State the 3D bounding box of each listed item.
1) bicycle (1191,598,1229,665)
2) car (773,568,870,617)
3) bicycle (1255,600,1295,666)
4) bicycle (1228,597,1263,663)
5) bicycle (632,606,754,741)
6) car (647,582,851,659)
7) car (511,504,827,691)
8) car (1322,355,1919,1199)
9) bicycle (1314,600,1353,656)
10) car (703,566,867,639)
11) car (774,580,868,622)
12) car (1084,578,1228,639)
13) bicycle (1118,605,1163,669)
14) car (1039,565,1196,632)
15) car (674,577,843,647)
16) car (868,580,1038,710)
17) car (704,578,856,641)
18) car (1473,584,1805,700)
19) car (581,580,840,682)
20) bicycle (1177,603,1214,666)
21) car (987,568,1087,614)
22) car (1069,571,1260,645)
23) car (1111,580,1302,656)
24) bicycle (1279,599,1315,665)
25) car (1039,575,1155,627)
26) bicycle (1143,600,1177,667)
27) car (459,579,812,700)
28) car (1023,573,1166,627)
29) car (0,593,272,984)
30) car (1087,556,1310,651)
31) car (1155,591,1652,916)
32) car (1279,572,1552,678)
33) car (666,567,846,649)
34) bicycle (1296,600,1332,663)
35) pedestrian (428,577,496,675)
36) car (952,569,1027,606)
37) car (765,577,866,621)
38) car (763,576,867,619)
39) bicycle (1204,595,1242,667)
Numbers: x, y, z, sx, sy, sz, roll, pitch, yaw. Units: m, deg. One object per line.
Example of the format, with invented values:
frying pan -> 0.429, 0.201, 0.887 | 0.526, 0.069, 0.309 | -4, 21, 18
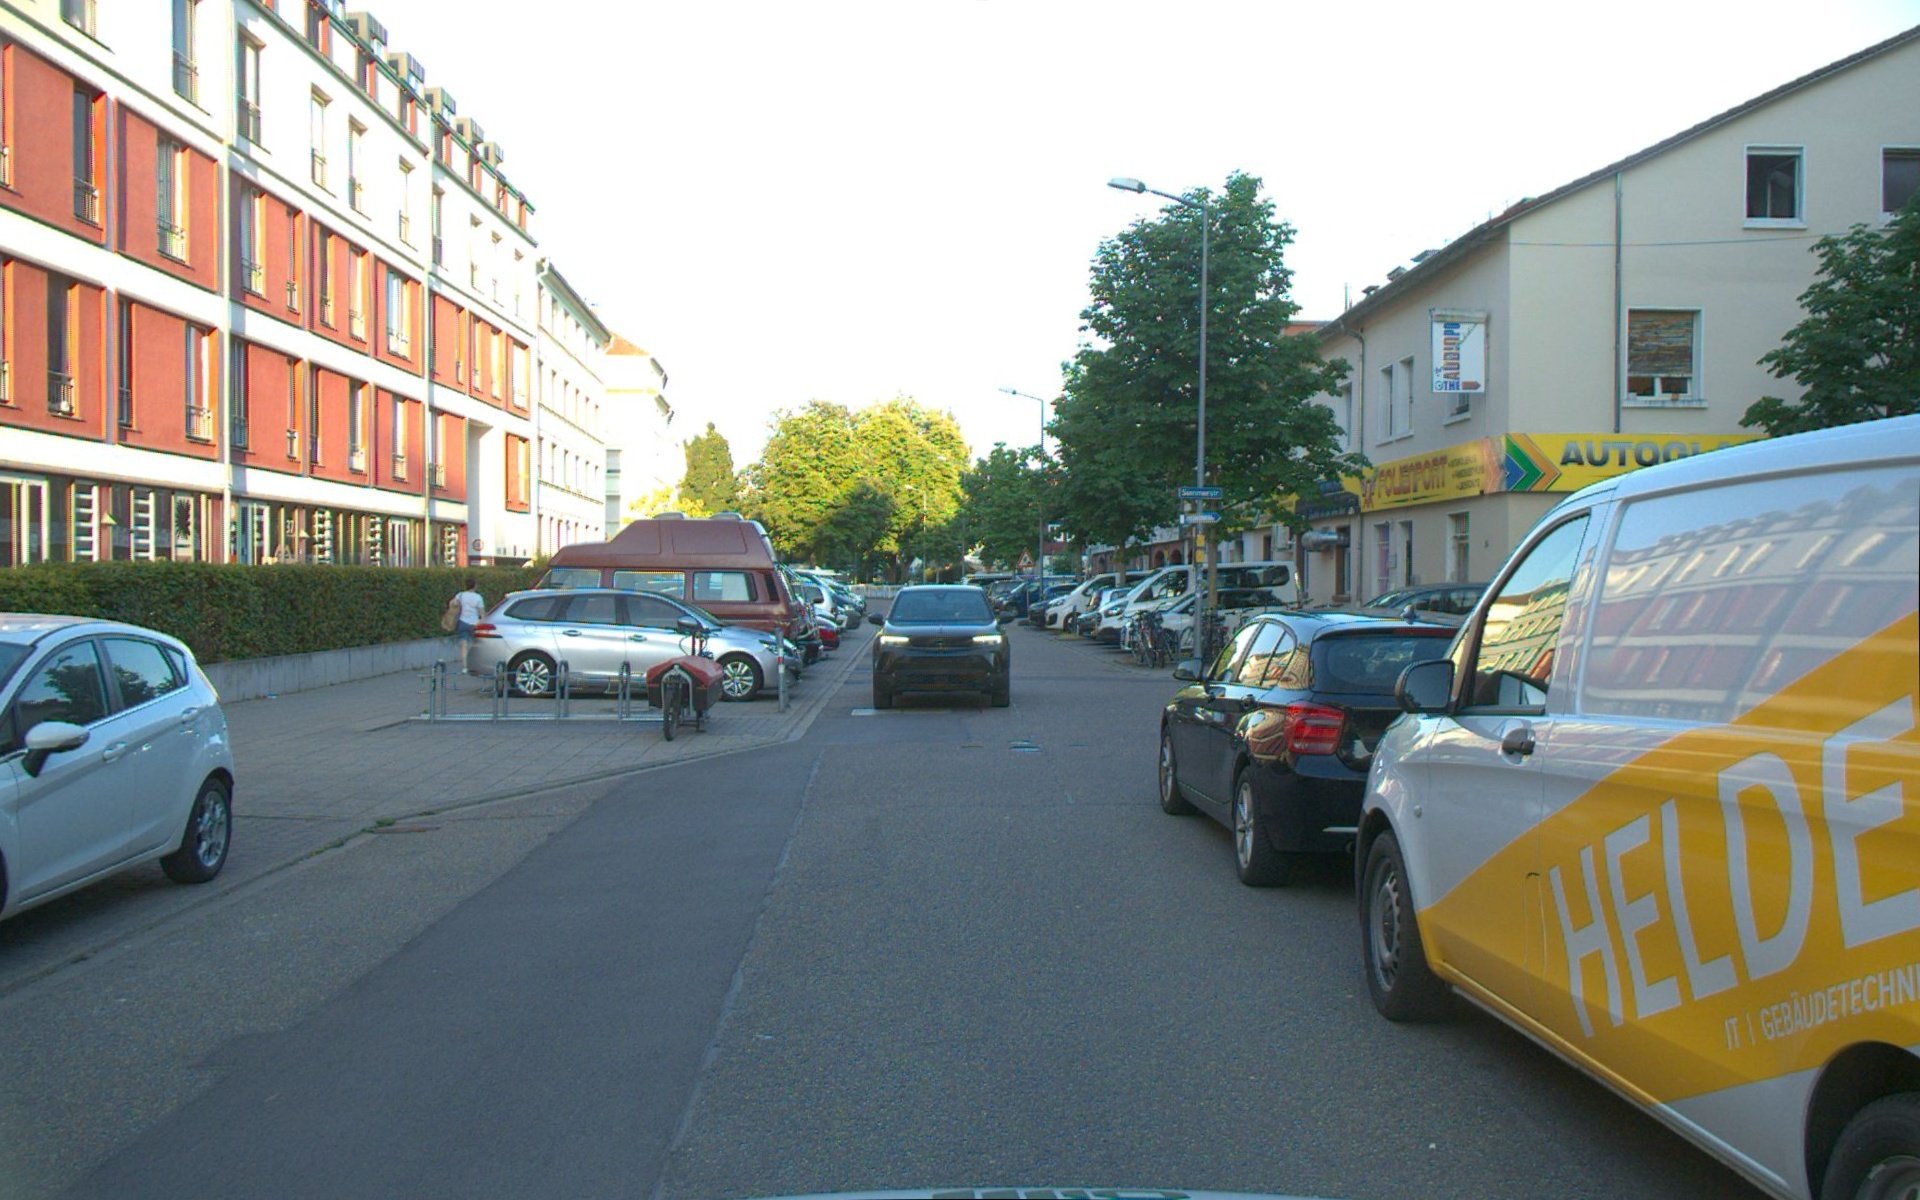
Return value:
bicycle -> 4.848, 0.591, 32.149 | 0.378, 1.221, 2.017 | -1, 1, -1
car -> -6.564, -0.373, 78.758 | 4.442, 2.171, 2.000 | 1, 0, -2
bicycle -> 6.087, 0.621, 31.996 | 0.436, 1.221, 1.481 | -1, 1, -1
bicycle -> 5.519, 0.565, 32.016 | 0.378, 1.221, 1.481 | -1, 1, -1
bicycle -> -2.769, 0.719, 17.484 | 0.791, 1.242, 2.865 | 1, 1, 0
car -> -4.465, 0.421, 35.498 | 4.123, 1.516, 1.849 | 2, 1, -1
car -> -4.360, -0.049, 25.319 | 4.419, 2.629, 2.000 | 1, 0, 0
car -> 2.519, 0.531, 4.374 | 1.855, 1.917, 5.080 | 1, 1, -2
bicycle -> 7.254, 0.531, 32.138 | 0.380, 1.035, 1.481 | -1, 1, -1
car -> -5.271, 0.054, 50.283 | 4.752, 2.056, 1.906 | 1, 0, -2
car -> -6.366, 0.037, 76.127 | 4.170, 1.780, 2.000 | 1, 1, -1
car -> 5.531, 0.226, 47.065 | 3.832, 1.552, 1.939 | -2, 1, -1
bicycle -> 3.468, 0.694, 31.913 | 0.429, 1.150, 2.014 | -1, 1, -6
car -> 5.135, -0.054, 54.289 | 4.846, 1.992, 2.048 | -2, 1, -3
car -> -5.225, 0.294, 43.374 | 4.170, 1.689, 2.000 | 1, 1, -1
car -> 0.003, 0.530, 22.065 | 1.741, 1.544, 4.003 | -1, 1, 7
car -> -5.143, 0.254, 47.731 | 4.170, 1.681, 1.887 | 1, 1, -2
car -> 9.158, 0.548, 22.519 | 3.848, 1.480, 1.658 | 0, 1, 0
car -> -4.125, 0.493, 27.897 | 4.125, 1.565, 1.790 | 1, 1, -3
bicycle -> 4.569, 0.653, 32.156 | 0.378, 1.133, 2.017 | -1, 1, -1
car -> 3.538, -0.407, 76.629 | 4.393, 1.945, 1.686 | -2, 0, -6
car -> 5.438, 0.191, 44.429 | 4.843, 1.772, 2.049 | -2, 1, -1
car -> 5.362, 0.365, 36.297 | 3.841, 1.476, 1.767 | -2, 1, -4
bicycle -> 6.508, 0.604, 31.996 | 0.346, 1.221, 1.481 | -1, 1, -1
car -> 5.272, 0.011, 64.095 | 4.231, 1.835, 1.810 | -2, 1, -3
bicycle -> 3.873, 0.634, 32.108 | 0.378, 1.221, 2.017 | -1, 1, -1
car -> -4.340, 0.517, 22.746 | 4.525, 1.485, 1.879 | 1, 1, -5
car -> 4.767, -0.013, 59.177 | 4.846, 1.718, 2.076 | -2, 1, -3
car -> -4.804, 0.771, 7.847 | 1.618, 1.557, 4.014 | 1, 1, -4
car -> 5.566, 0.076, 39.086 | 4.888, 2.018, 2.219 | -2, 1, -1
car -> 2.317, 0.703, 9.810 | 1.686, 1.449, 4.252 | 1, 1, -1
car -> 7.360, 0.386, 26.984 | 3.968, 1.540, 1.756 | -1, 2, -1
car -> -4.987, 0.179, 40.906 | 4.170, 1.868, 2.000 | 1, 0, -1
bicycle -> 6.860, 0.590, 32.084 | 0.346, 1.163, 1.481 | -1, 1, -1
pedestrian -> -7.952, 0.404, 26.455 | 0.815, 1.527, 0.798 | 1, 0, -1
car -> 1.628, -0.692, 92.285 | 3.892, 1.945, 2.047 | -2, 1, -6
car -> -6.202, -0.043, 71.358 | 4.170, 1.744, 2.000 | 1, 1, -1
car -> -5.971, -0.100, 68.622 | 4.171, 1.650, 1.999 | 1, 1, -2
bicycle -> 5.105, 0.581, 32.163 | 0.378, 1.327, 2.017 | -1, 1, -1
